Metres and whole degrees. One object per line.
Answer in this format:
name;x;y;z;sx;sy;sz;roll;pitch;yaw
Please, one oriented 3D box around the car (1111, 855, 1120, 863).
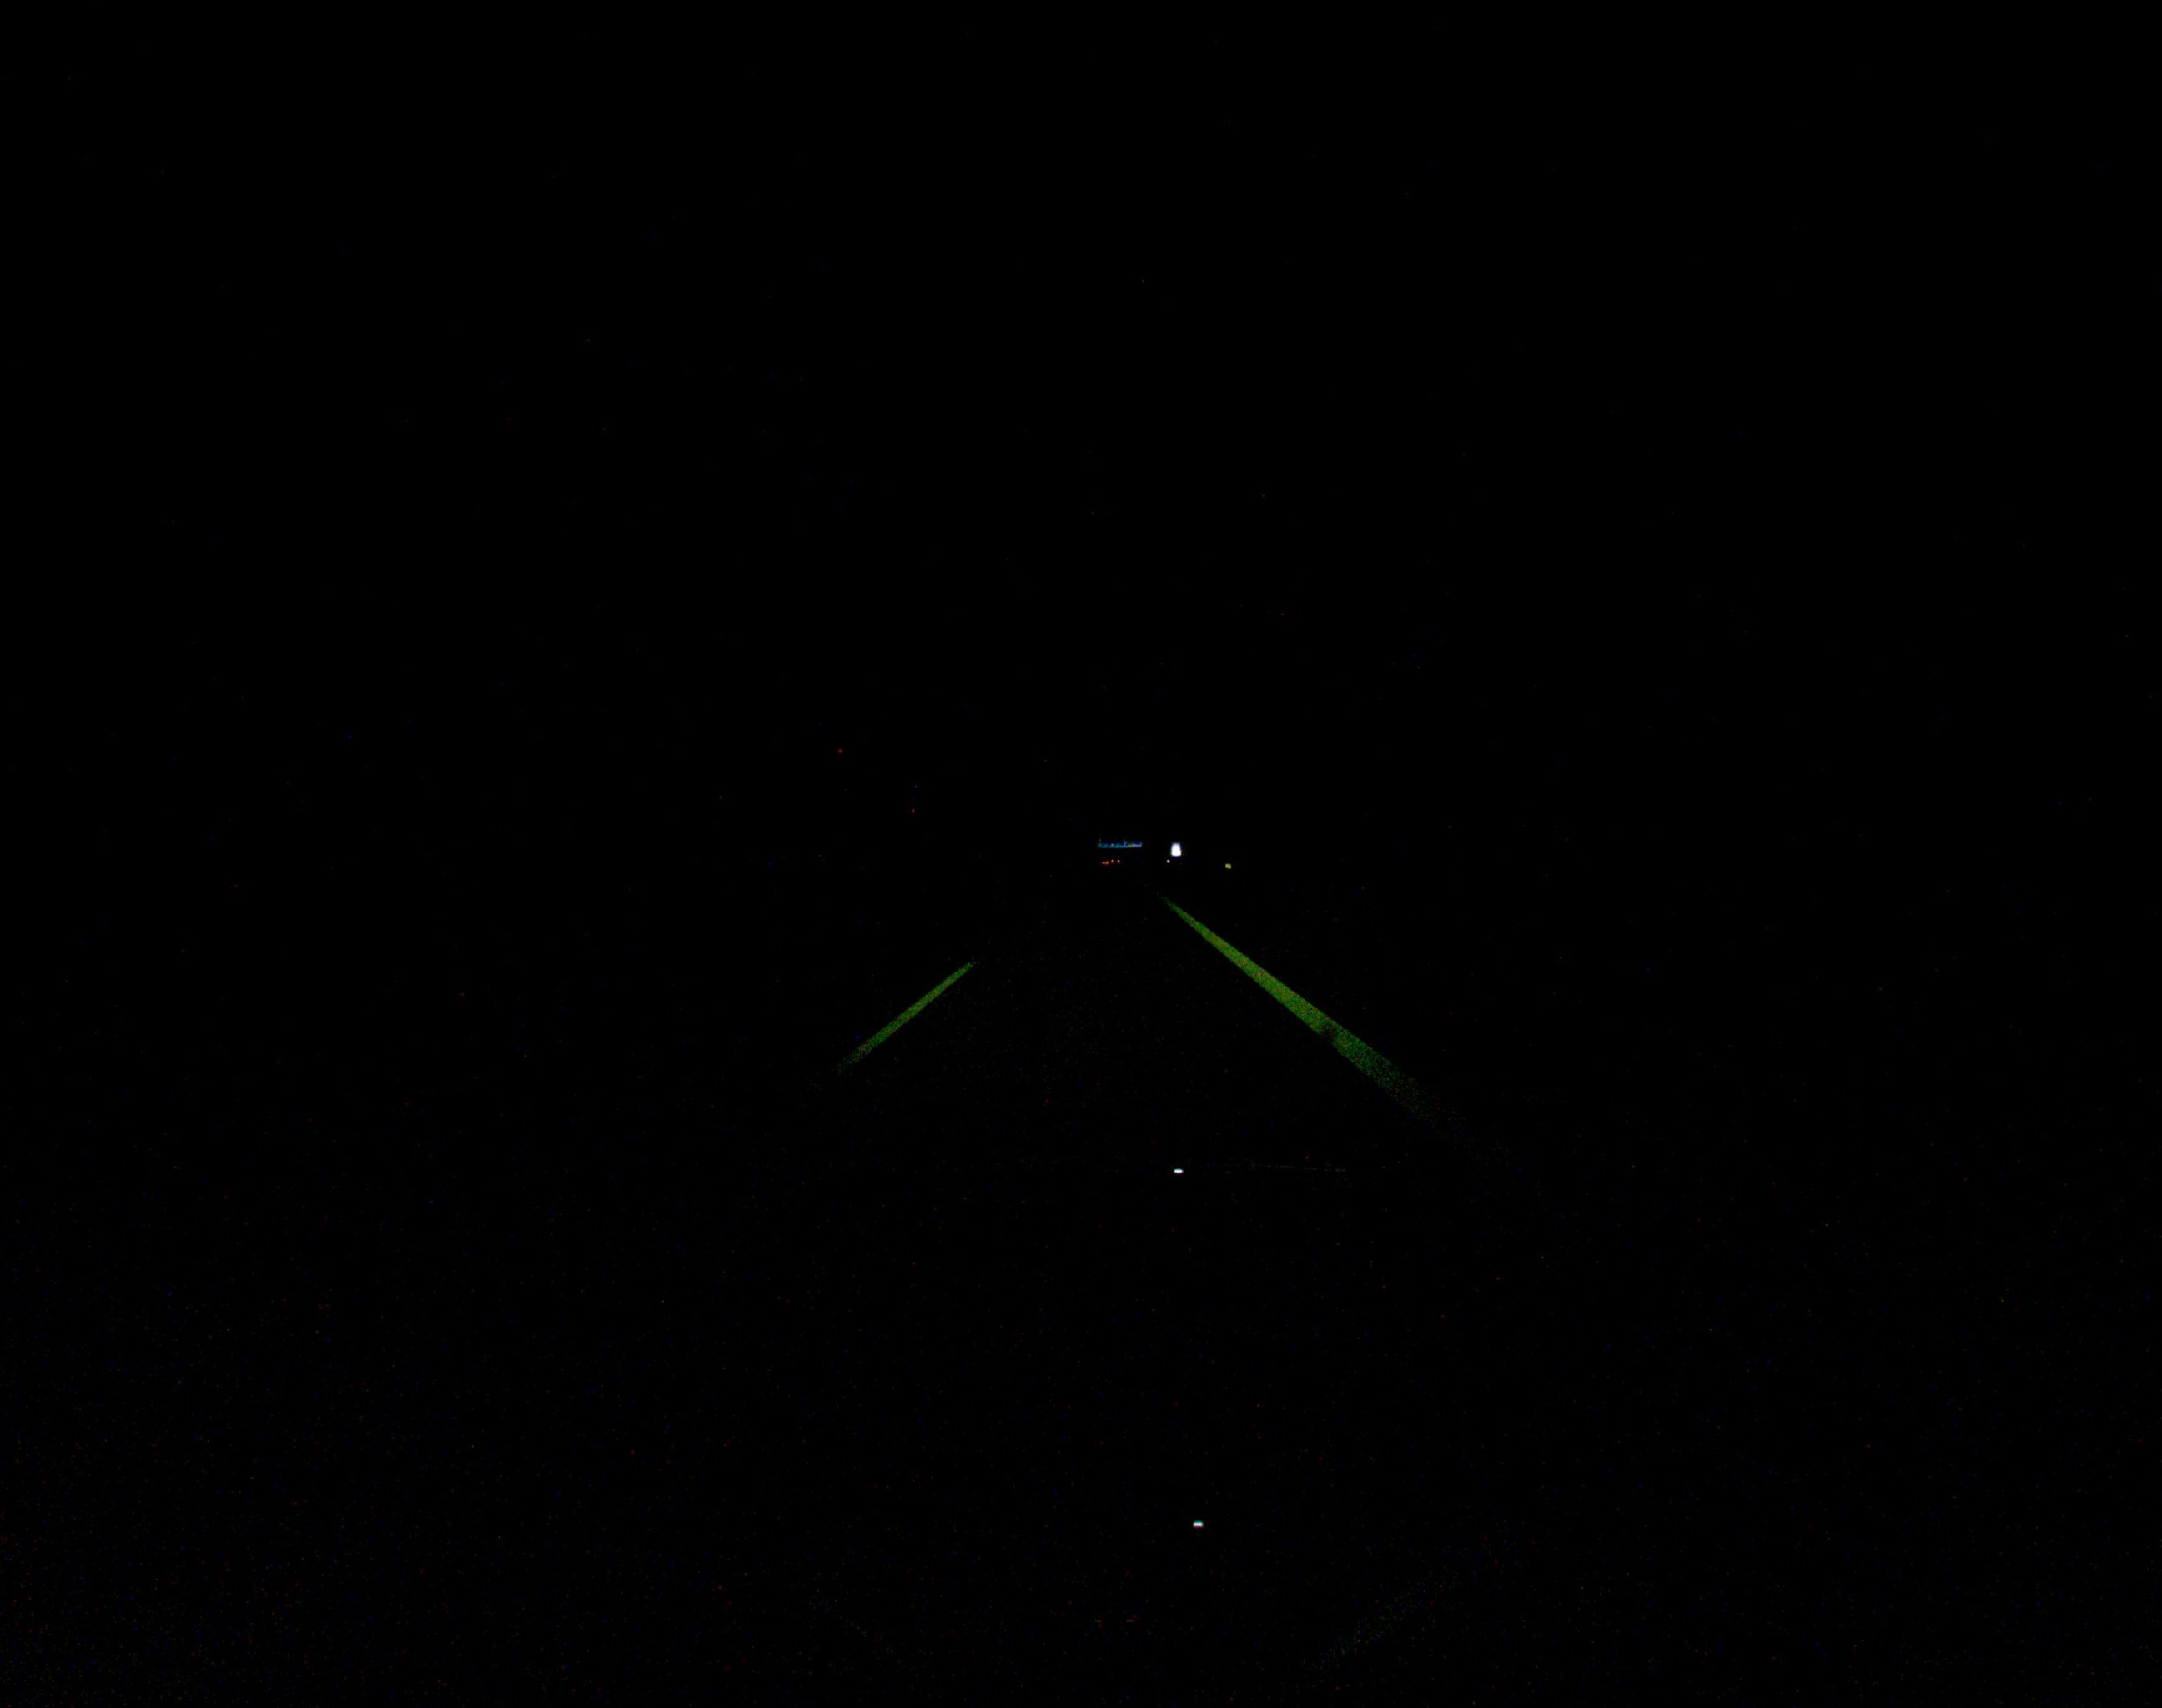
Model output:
car;10.586;1.515;248.163;2.498;2.314;4.979;-1;-1;7
